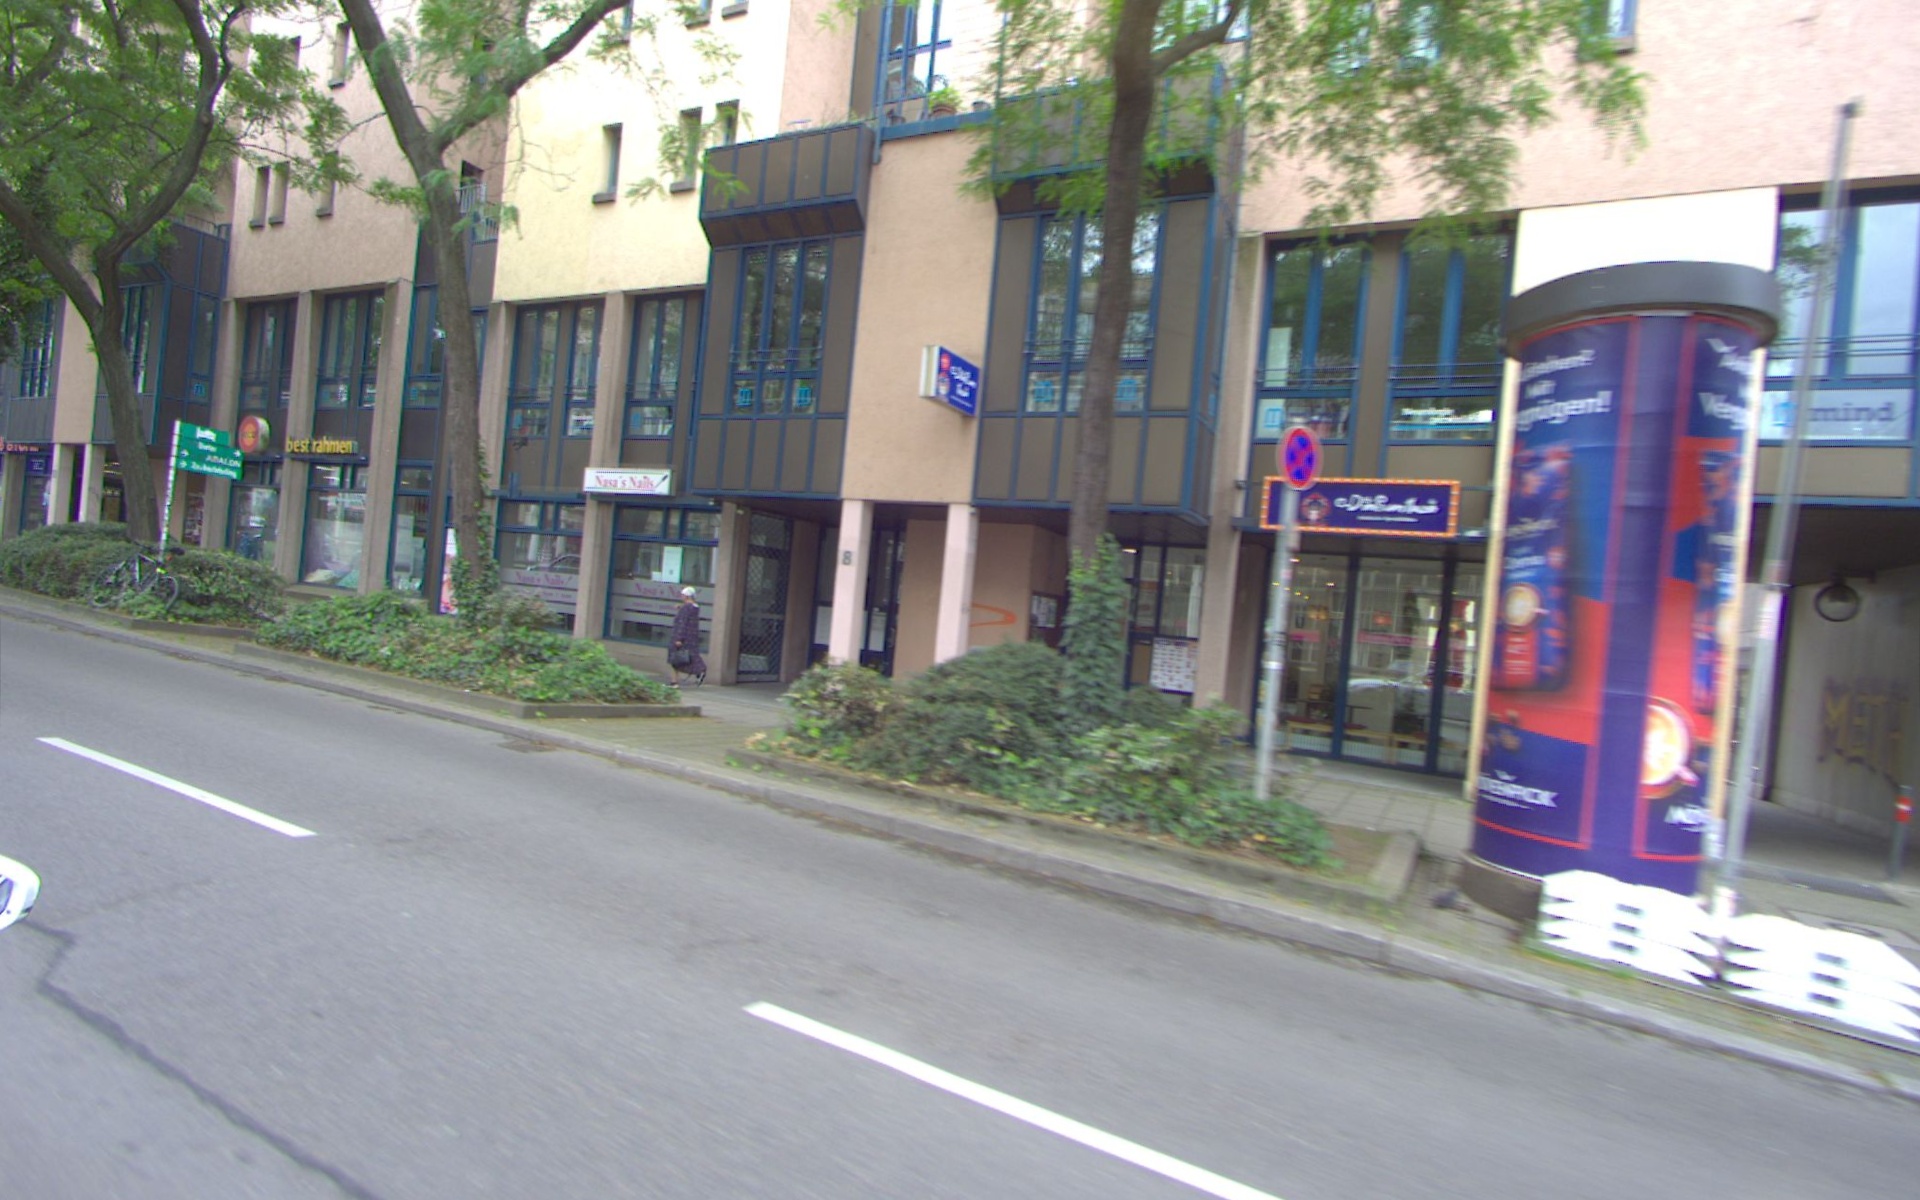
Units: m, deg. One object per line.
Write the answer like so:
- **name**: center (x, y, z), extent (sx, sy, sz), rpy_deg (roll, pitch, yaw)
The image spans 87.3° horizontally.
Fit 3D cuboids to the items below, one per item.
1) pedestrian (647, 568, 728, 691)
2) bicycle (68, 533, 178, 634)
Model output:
- **pedestrian**: center (-4.062, 0.444, 15.027), extent (0.677, 1.732, 0.710), rpy_deg (8, 1, 35)
- **bicycle**: center (-11.595, -0.229, 13.932), extent (1.541, 1.216, 0.362), rpy_deg (7, 1, 20)
